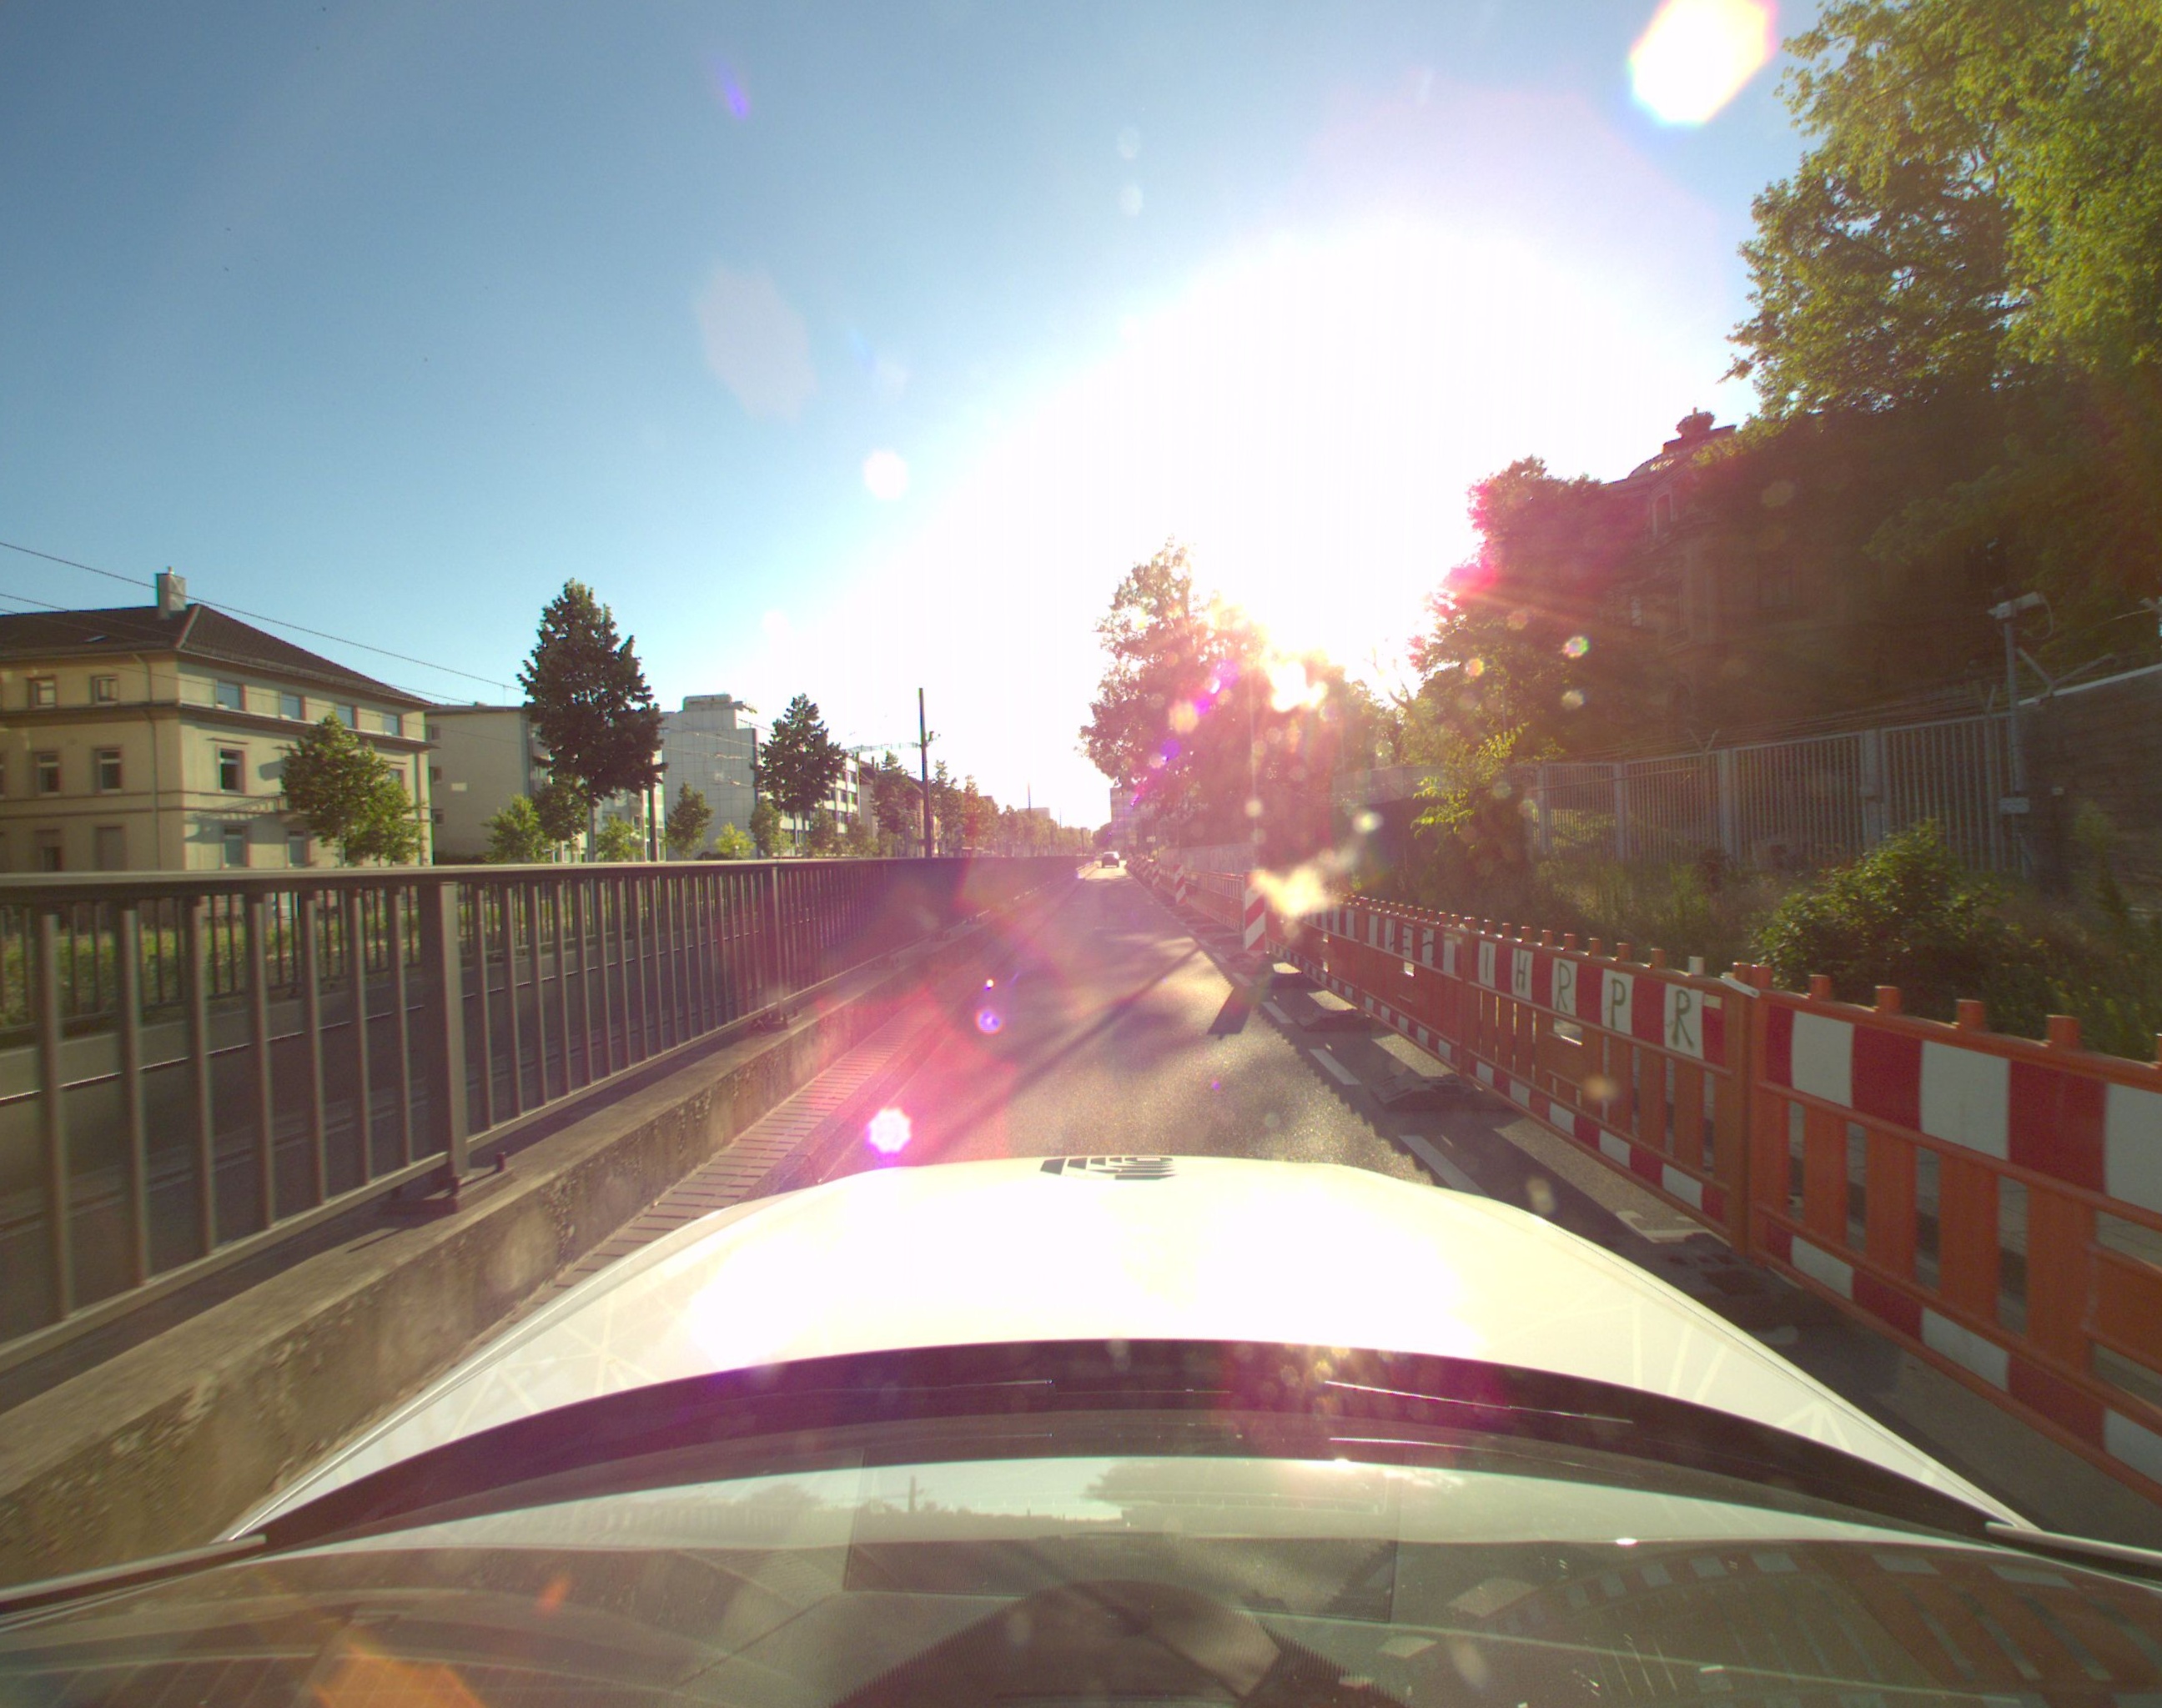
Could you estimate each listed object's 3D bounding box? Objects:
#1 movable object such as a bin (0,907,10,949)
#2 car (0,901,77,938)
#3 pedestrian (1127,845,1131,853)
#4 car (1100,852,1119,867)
[{"bbox_3d":[-38.077,2.601,27.927,1.200,1.429,1.080,-3,0,2],"label":"movable object such as a bin"},{"bbox_3d":[-46.880,2.862,35.627,3.970,1.469,1.683,-1,-1,3],"label":"car"},{"bbox_3d":[12.416,-1.315,209.059,0.887,2.112,0.719,-2,1,7],"label":"pedestrian"},{"bbox_3d":[3.272,0.583,92.862,1.997,1.659,4.003,-1,0,3],"label":"car"}]
